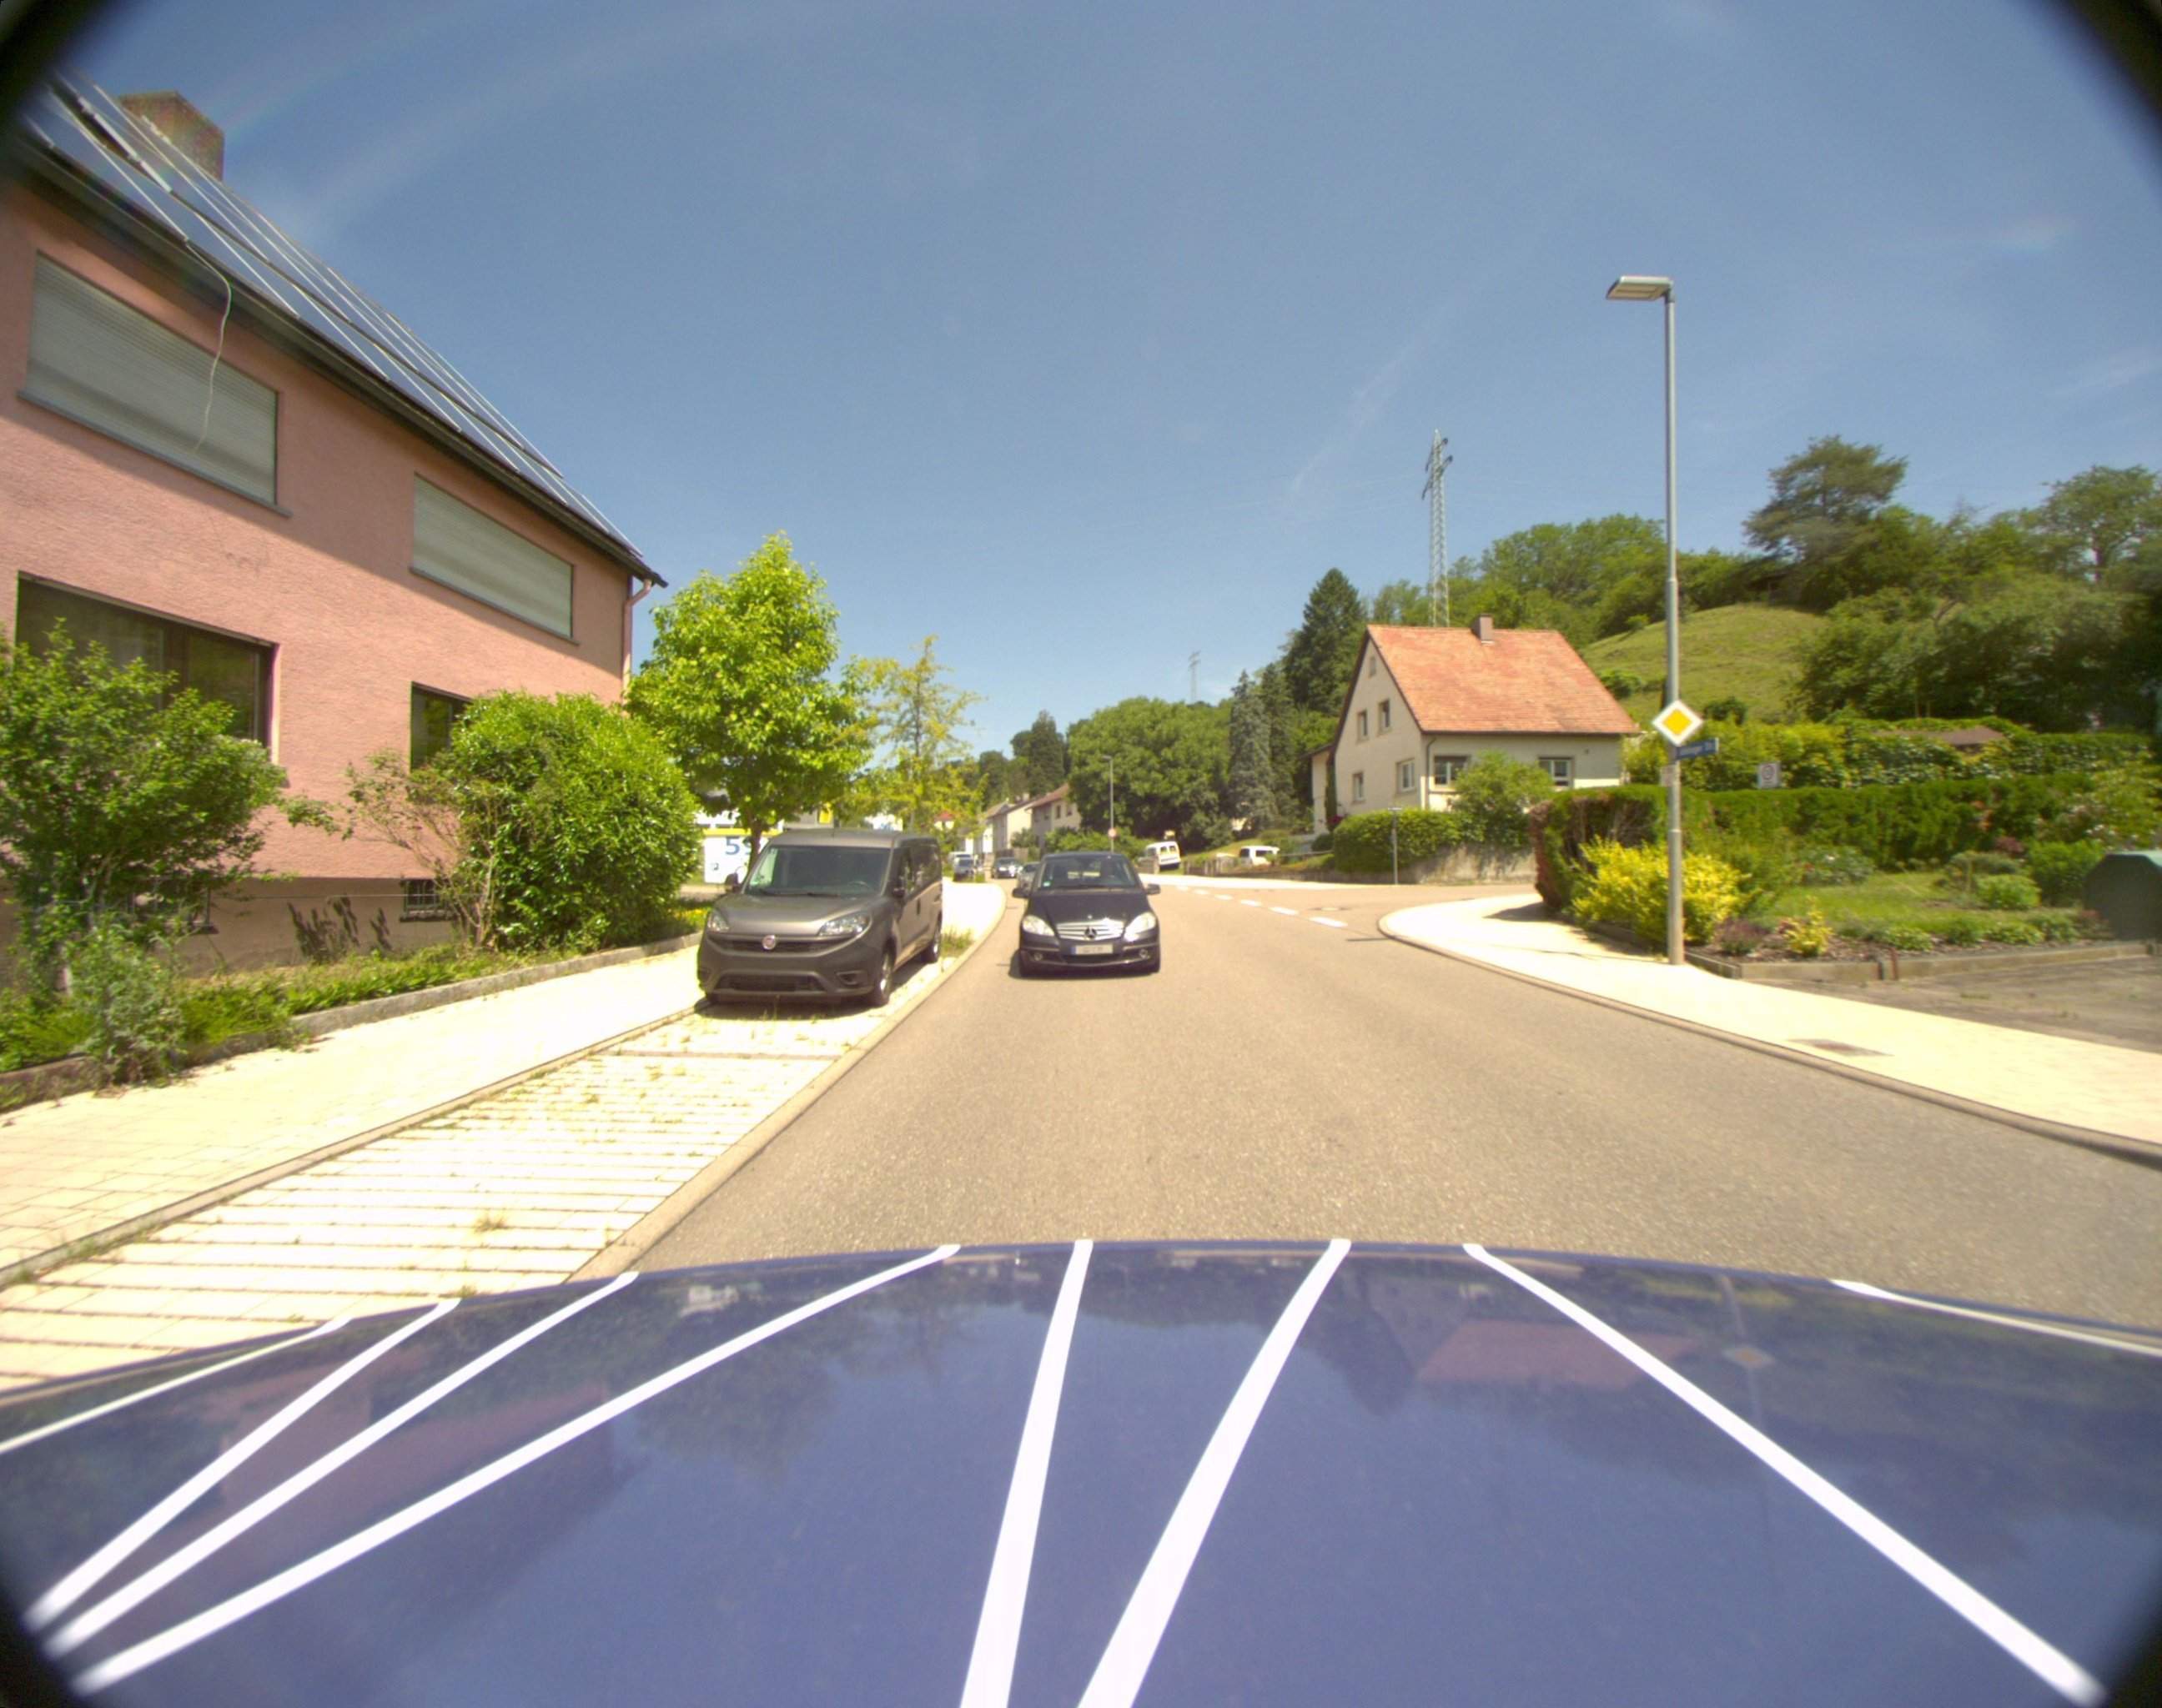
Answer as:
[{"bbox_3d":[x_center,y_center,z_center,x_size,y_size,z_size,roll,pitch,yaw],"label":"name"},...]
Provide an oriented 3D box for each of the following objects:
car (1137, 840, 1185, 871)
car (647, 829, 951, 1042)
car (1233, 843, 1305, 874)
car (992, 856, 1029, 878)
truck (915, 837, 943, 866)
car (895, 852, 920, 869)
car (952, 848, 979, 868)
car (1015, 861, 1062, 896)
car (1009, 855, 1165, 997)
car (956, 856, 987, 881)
[{"bbox_3d":[5.234,0.127,50.191,1.706,1.937,3.994,-1,0,-16],"label":"car"},{"bbox_3d":[-2.836,0.708,8.908,1.860,1.832,4.670,1,0,-1],"label":"car"},{"bbox_3d":[11.688,0.274,47.207,4.003,1.779,1.808,-1,0,-20],"label":"car"},{"bbox_3d":[-4.794,0.857,51.185,1.912,1.342,3.995,-1,0,-14],"label":"car"},{"bbox_3d":[-19.193,-0.301,95.857,2.809,3.394,8.108,-1,0,-15],"label":"truck"},{"bbox_3d":[-16.639,0.600,72.872,1.654,1.521,3.857,-1,0,-23],"label":"car"},{"bbox_3d":[-10.964,0.380,71.733,1.971,1.823,4.458,1,0,-16],"label":"car"},{"bbox_3d":[-1.753,0.917,30.334,1.668,1.253,3.550,-1,0,-6],"label":"car"},{"bbox_3d":[0.001,0.846,10.933,1.791,1.595,4.074,-1,0,-2],"label":"car"},{"bbox_3d":[-6.304,0.816,43.903,1.676,1.368,3.997,1,0,-8],"label":"car"}]
